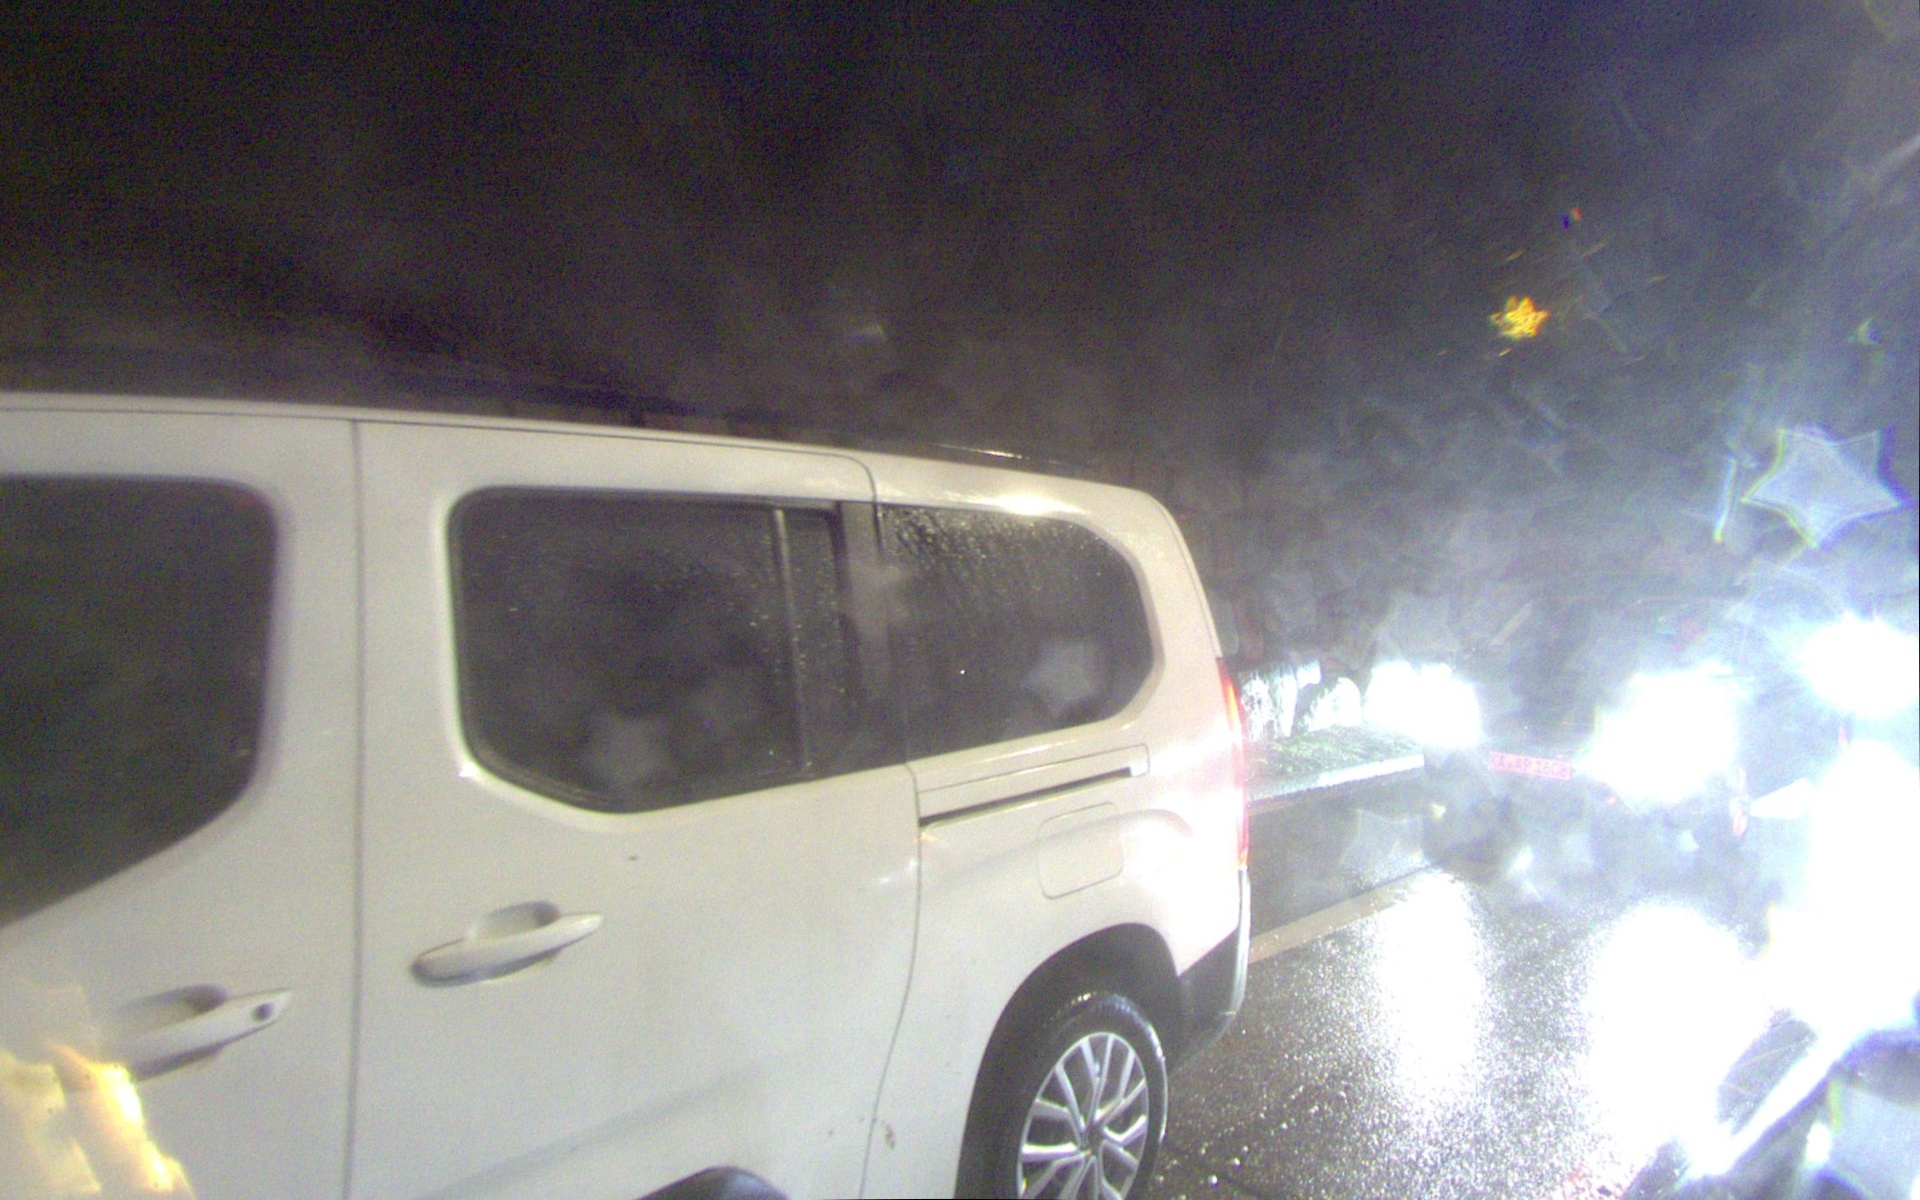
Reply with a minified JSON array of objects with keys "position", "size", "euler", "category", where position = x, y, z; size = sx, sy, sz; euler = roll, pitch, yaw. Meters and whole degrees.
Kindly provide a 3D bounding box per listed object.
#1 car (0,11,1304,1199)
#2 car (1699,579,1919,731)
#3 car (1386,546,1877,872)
[{"position":[-1.333,0.448,1.813],"size":[4.502,2.047,1.793],"euler":[0,1,-43],"category":"car"},{"position":[11.374,0.599,13.247],"size":[4.358,1.669,1.787],"euler":[0,0,-41],"category":"car"},{"position":[5.003,0.558,7.321],"size":[4.142,1.715,1.790],"euler":[0,0,-39],"category":"car"}]
